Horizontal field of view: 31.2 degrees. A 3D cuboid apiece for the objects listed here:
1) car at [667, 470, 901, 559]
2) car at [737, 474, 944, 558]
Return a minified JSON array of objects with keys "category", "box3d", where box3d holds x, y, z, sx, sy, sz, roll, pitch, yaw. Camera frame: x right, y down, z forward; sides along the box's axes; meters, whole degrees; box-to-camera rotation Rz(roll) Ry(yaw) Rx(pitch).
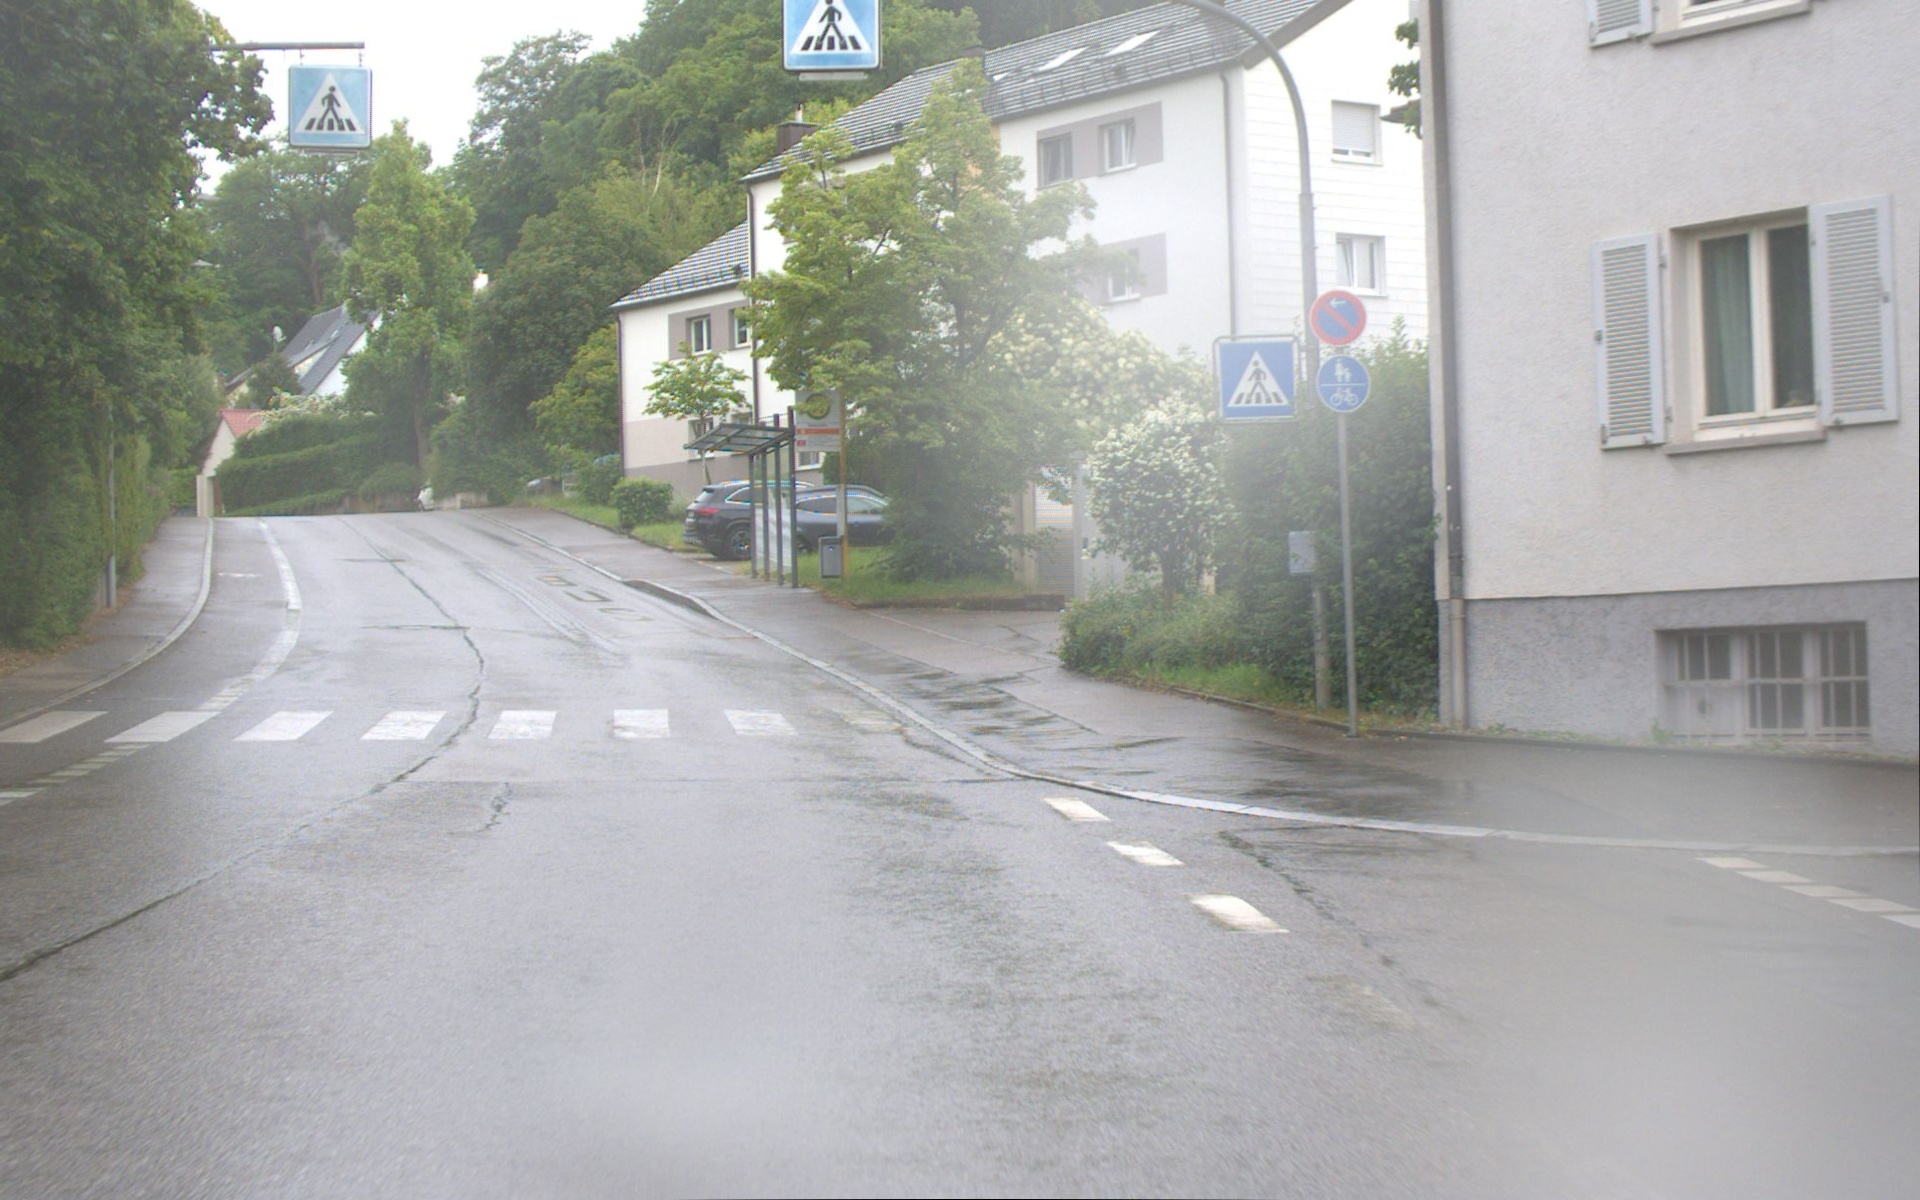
[{"category":"car","box3d":[-3.678,-1.805,71.929,4.524,1.654,1.857,-2,4,-18]},{"category":"car","box3d":[-2.342,-1.654,66.929,3.742,1.453,1.725,-2,4,-13]}]
